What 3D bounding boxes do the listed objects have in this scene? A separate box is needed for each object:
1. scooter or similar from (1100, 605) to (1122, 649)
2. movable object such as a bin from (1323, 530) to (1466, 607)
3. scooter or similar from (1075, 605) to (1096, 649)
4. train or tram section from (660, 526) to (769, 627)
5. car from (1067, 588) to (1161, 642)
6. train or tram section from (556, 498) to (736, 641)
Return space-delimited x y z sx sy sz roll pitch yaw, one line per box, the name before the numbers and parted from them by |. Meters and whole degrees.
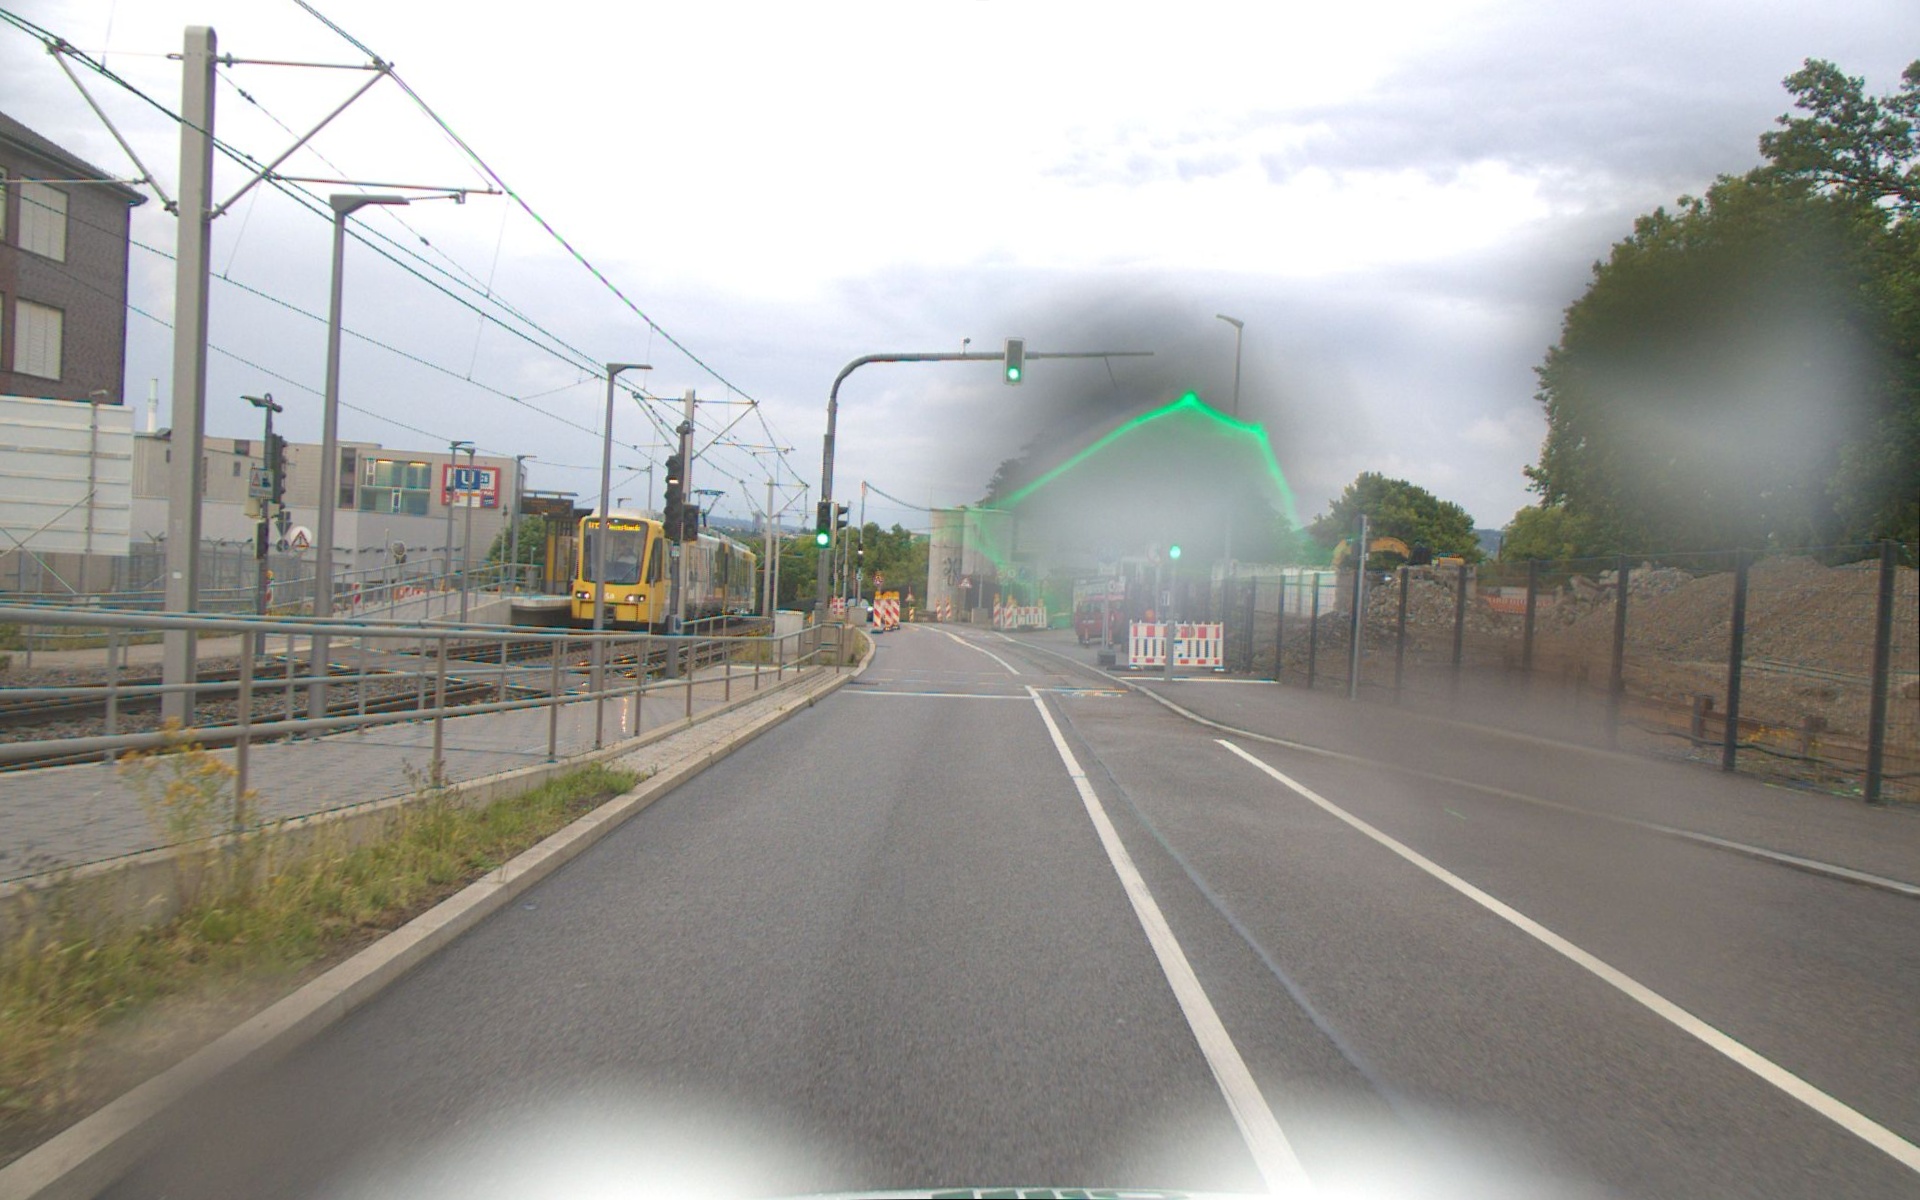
scooter or similar | 4.894 0.873 53.632 0.602 1.375 1.913 2 0 3
movable object such as a bin | 36.061 -2.588 137.641 10.994 6.100 3.493 2 -1 5
scooter or similar | 4.061 0.852 53.740 0.602 1.375 1.913 2 0 3
train or tram section | -11.084 -0.967 76.858 2.896 3.953 19.280 3 0 -3
car | 5.572 0.540 59.364 1.785 1.825 4.402 2 0 28
train or tram section | -10.372 -0.889 57.481 2.896 3.953 19.565 3 0 -2
